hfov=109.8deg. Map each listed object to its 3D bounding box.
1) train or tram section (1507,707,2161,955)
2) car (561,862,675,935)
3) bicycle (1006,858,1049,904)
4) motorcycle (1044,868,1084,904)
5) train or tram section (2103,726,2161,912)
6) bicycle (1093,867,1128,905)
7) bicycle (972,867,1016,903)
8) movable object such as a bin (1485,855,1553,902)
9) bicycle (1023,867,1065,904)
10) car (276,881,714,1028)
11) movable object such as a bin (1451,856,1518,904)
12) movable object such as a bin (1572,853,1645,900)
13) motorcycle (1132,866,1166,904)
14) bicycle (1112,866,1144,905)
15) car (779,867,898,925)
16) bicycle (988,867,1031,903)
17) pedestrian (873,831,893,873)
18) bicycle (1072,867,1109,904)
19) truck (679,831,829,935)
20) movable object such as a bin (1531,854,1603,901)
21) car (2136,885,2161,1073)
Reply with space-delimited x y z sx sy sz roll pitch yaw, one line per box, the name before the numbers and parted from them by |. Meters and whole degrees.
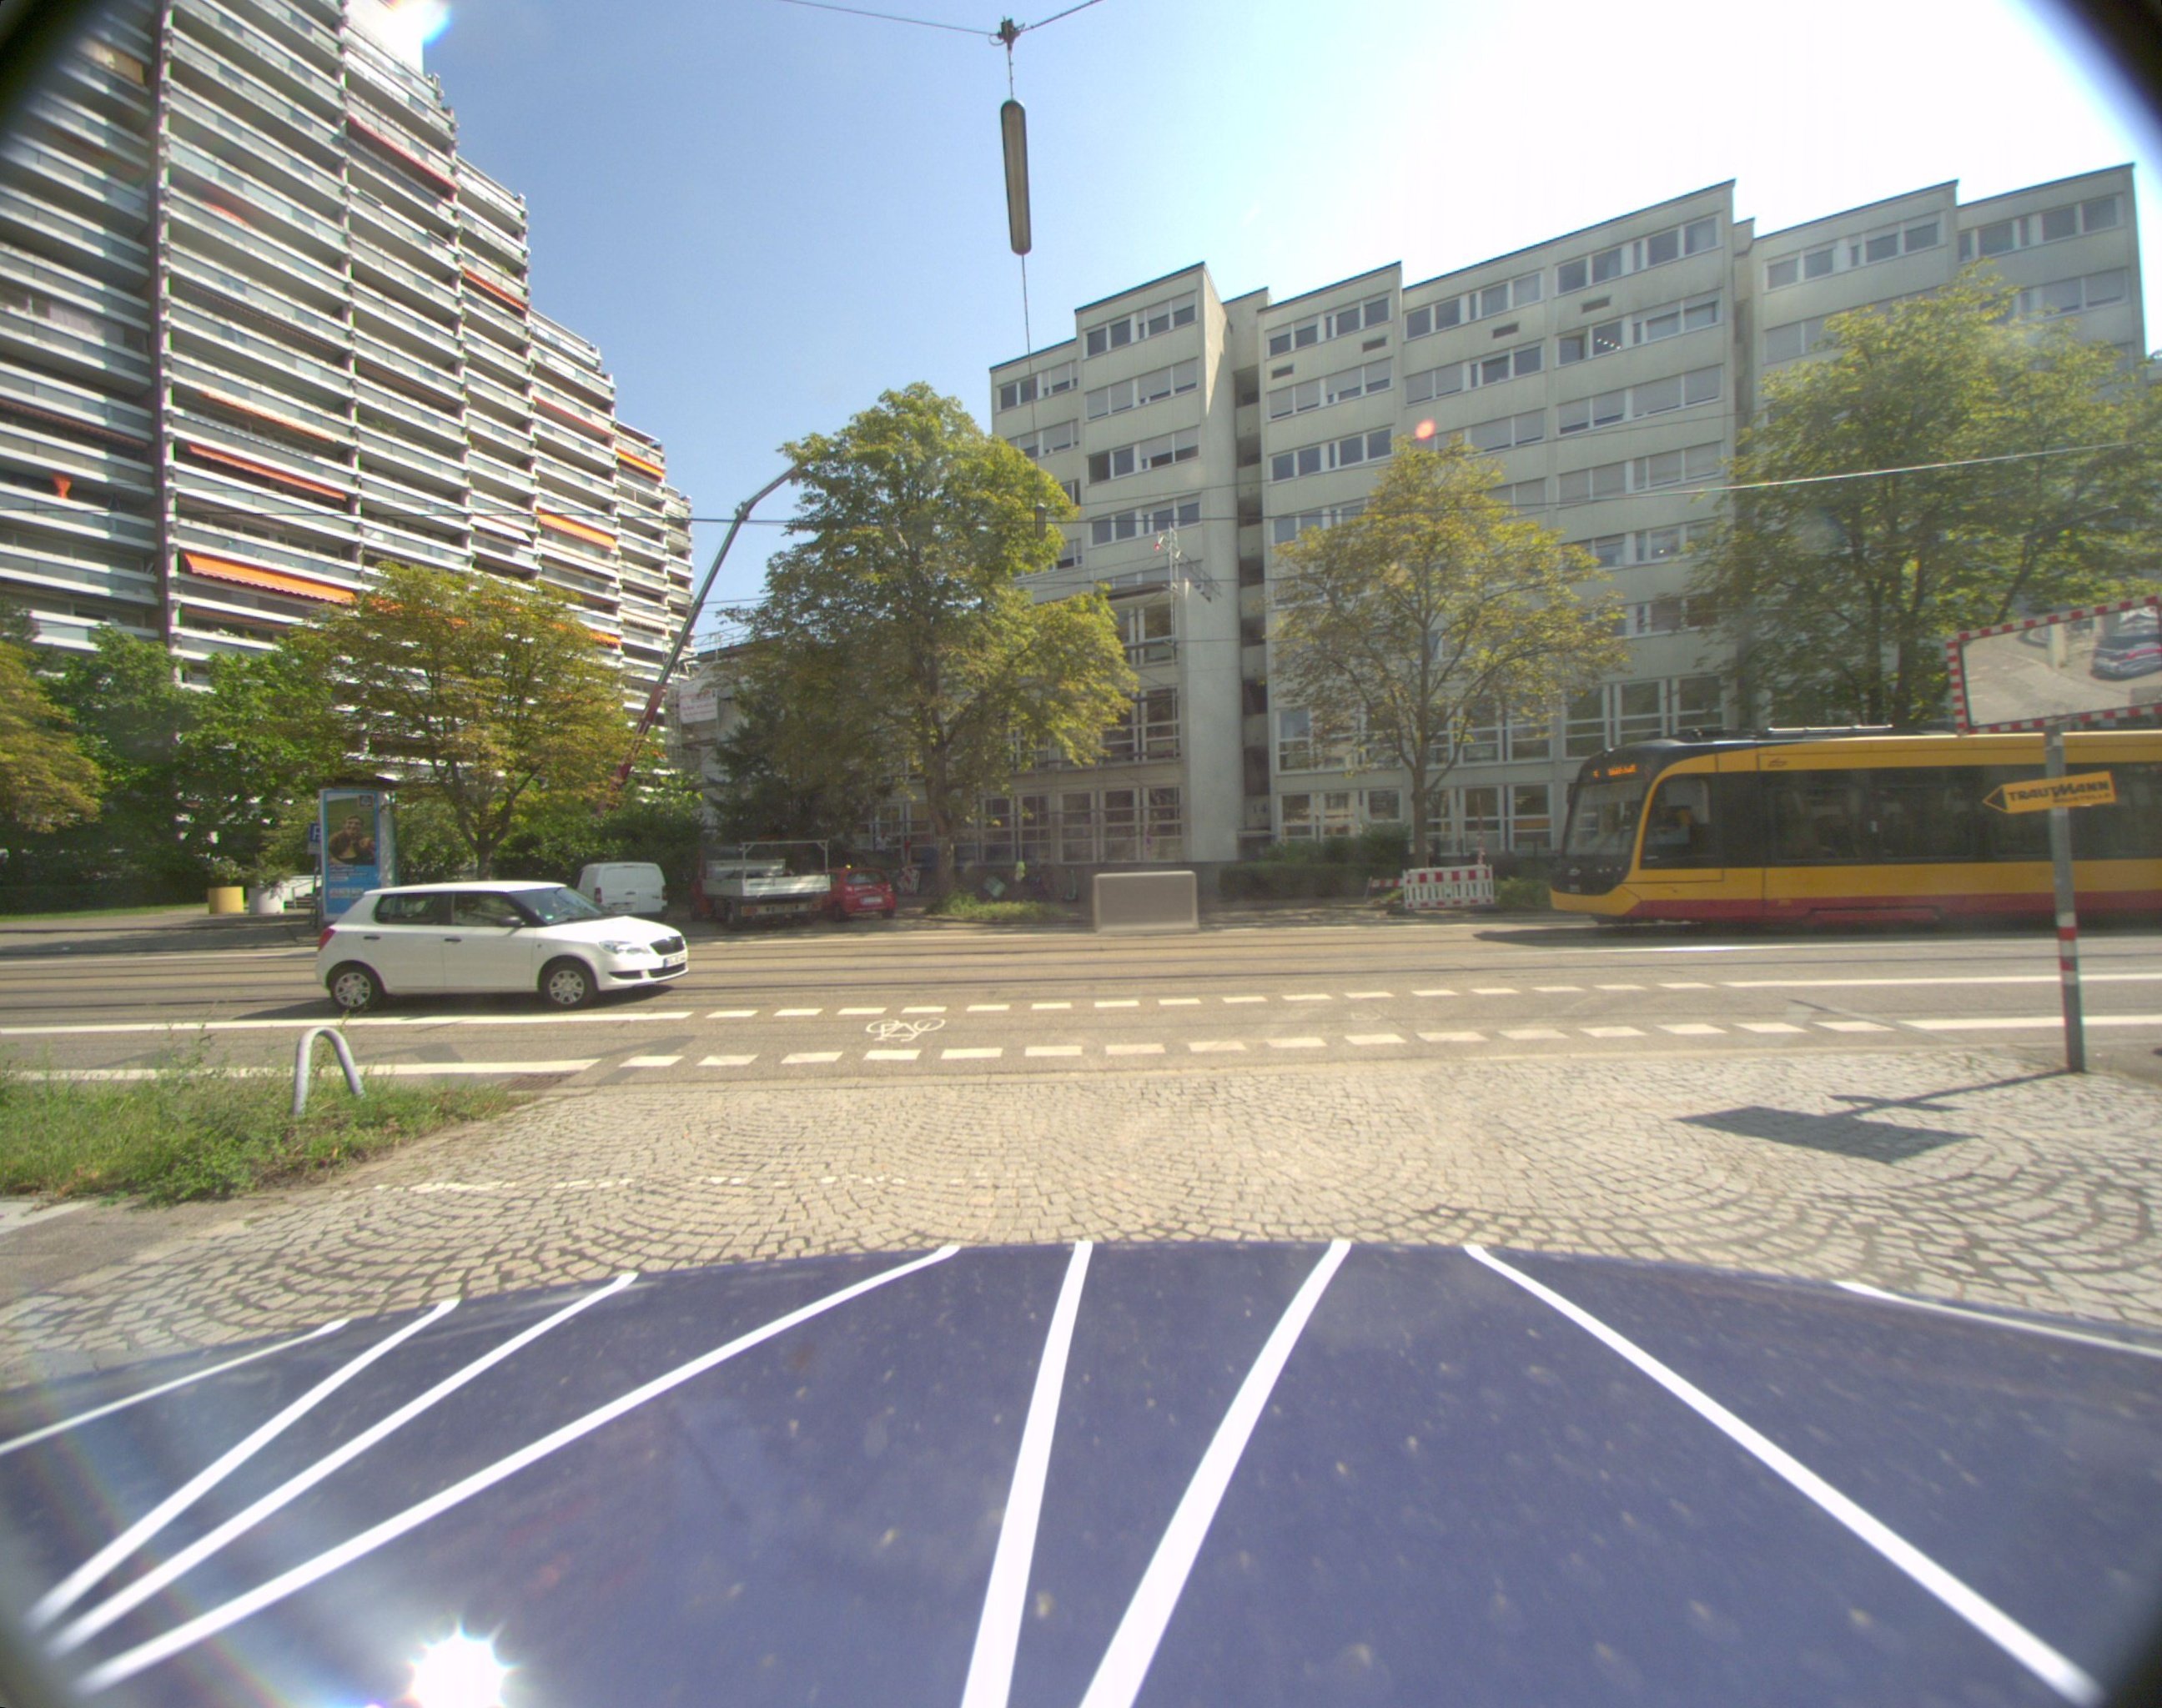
train or tram section | 15.058 -0.452 14.017 12.403 3.683 3.508 -2 1 0
car | -12.942 1.176 21.130 1.829 1.761 4.274 -2 0 -43
bicycle | -1.917 0.941 27.744 0.600 1.517 2.349 -1 2 20
motorcycle | -0.593 1.141 27.390 0.742 1.148 2.009 -1 2 20
train or tram section | 27.498 -0.902 14.103 12.403 3.683 3.508 -2 1 0
bicycle | 1.065 1.109 26.681 0.621 1.162 2.348 -1 2 17
bicycle | -3.201 1.128 28.191 0.600 1.153 2.349 -1 2 20
movable object such as a bin | 15.229 0.842 26.499 1.353 1.550 1.688 -2 0 -1
bicycle | -1.318 1.105 27.530 0.600 1.162 2.349 -1 2 20
car | -7.107 1.180 9.566 4.016 1.484 1.825 -1 2 0
movable object such as a bin | 13.796 0.877 26.035 1.353 1.550 1.688 -2 0 -1
movable object such as a bin | 18.375 0.758 26.528 1.353 1.550 1.688 -2 0 -1
motorcycle | 2.381 1.061 26.391 0.694 1.176 1.847 -1 2 20
bicycle | 1.671 1.077 26.503 0.561 1.162 2.348 -1 2 17
car | -7.048 1.161 21.886 1.724 1.499 3.849 -1 -1 -43
bicycle | -2.603 1.103 27.976 0.600 1.153 2.349 -1 2 20
pedestrian | -8.470 -0.080 32.458 0.740 1.776 0.829 -2 0 -13
bicycle | 0.359 1.092 26.877 0.621 1.162 2.348 -1 2 18
truck | -9.009 0.727 20.552 2.155 2.420 5.953 -2 0 -39
movable object such as a bin | 16.946 0.797 26.551 1.353 1.550 1.688 -2 0 -1
car | 10.102 0.896 4.968 3.729 1.437 1.798 -2 -1 2
